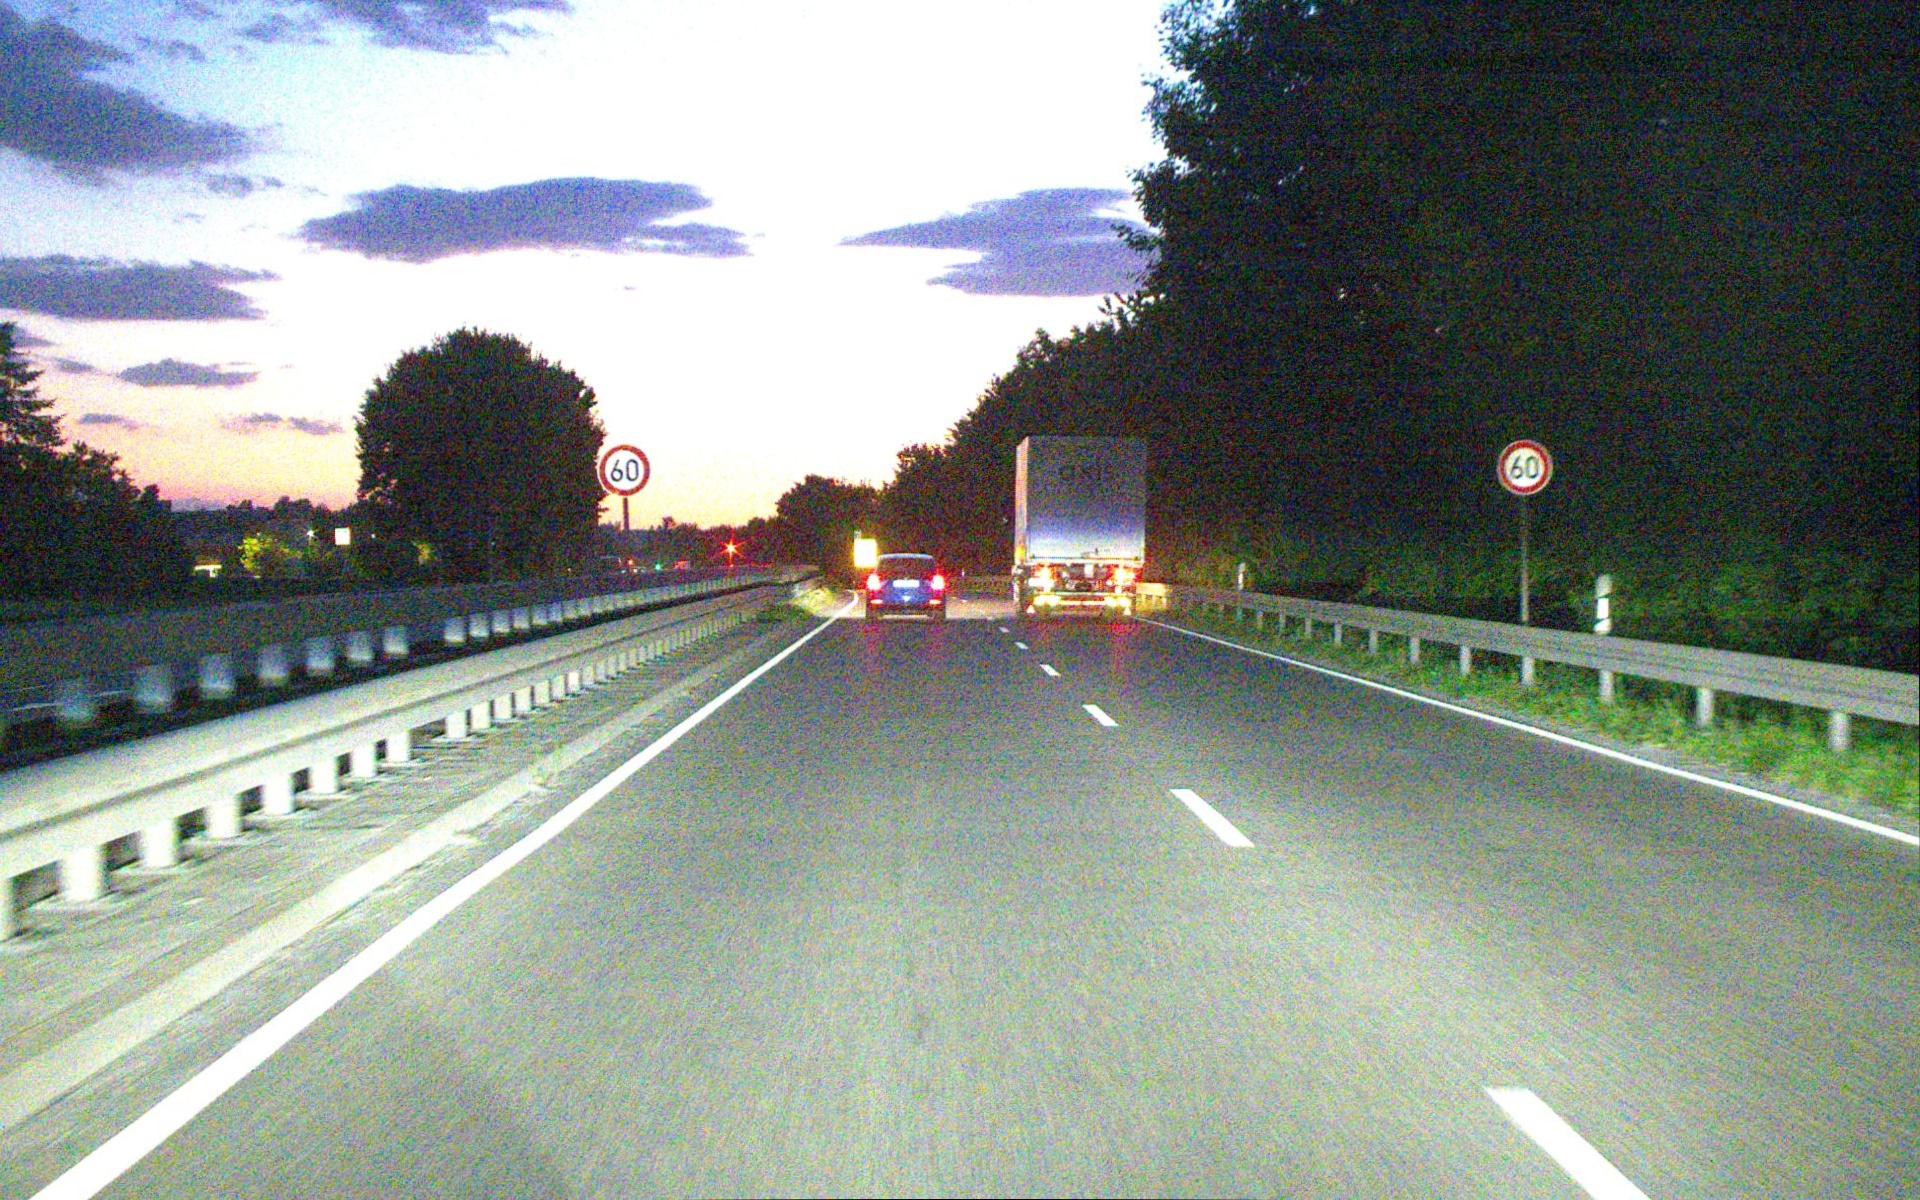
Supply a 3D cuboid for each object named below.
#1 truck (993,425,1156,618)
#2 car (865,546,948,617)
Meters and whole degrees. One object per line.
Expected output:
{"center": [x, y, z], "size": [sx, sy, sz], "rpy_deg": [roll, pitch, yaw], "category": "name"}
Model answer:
{"center": [2.495, -1.809, 79.608], "size": [2.883, 4.092, 12.685], "rpy_deg": [0, 1, -2], "category": "truck"}
{"center": [-1.169, -0.417, 73.416], "size": [1.695, 1.447, 3.915], "rpy_deg": [0, 1, -2], "category": "car"}
